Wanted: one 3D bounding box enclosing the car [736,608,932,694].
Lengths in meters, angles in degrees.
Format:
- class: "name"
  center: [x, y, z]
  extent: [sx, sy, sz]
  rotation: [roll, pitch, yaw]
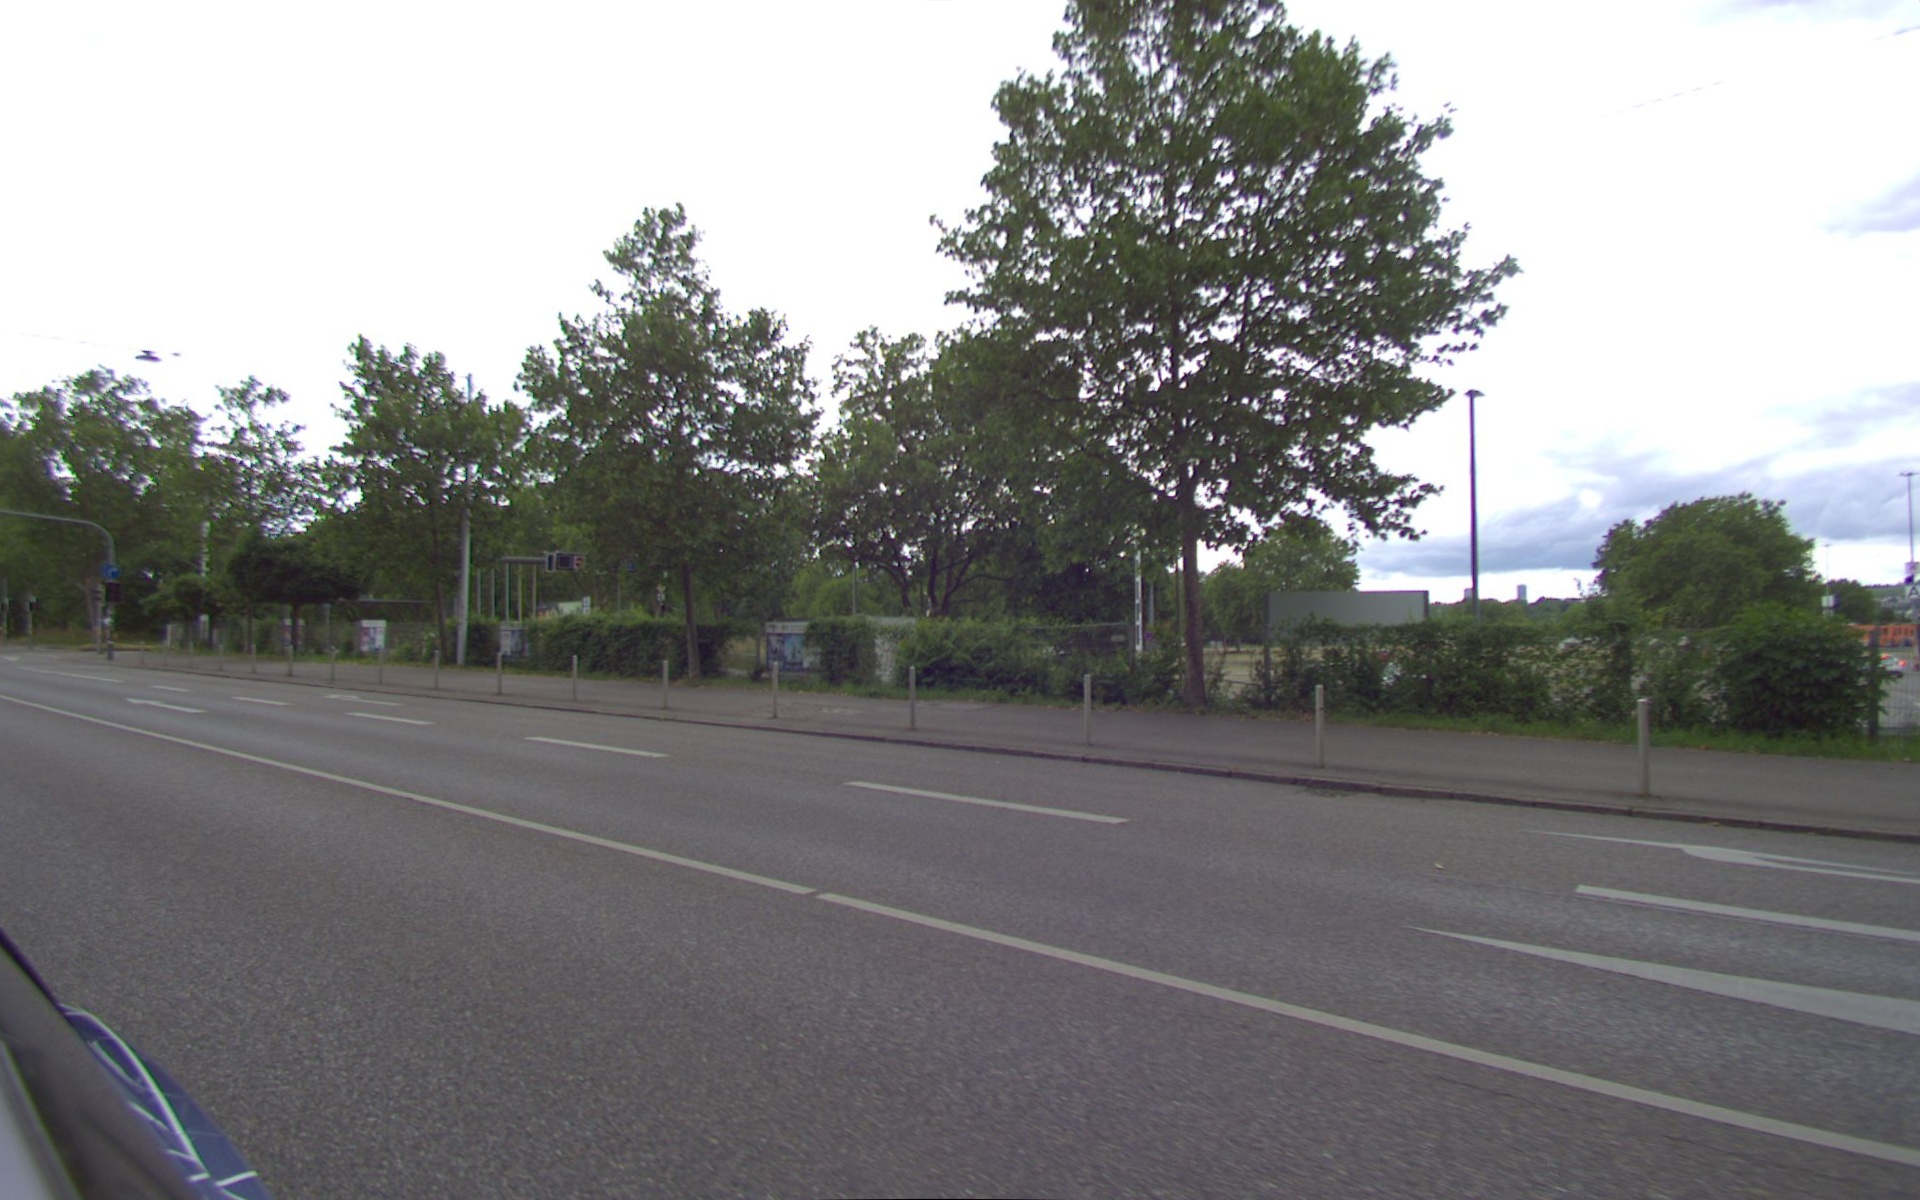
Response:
- class: "car"
  center: [-3.289, 1.269, 26.147]
  extent: [4.624, 2.029, 2.366]
  rotation: [-1, -3, 35]
